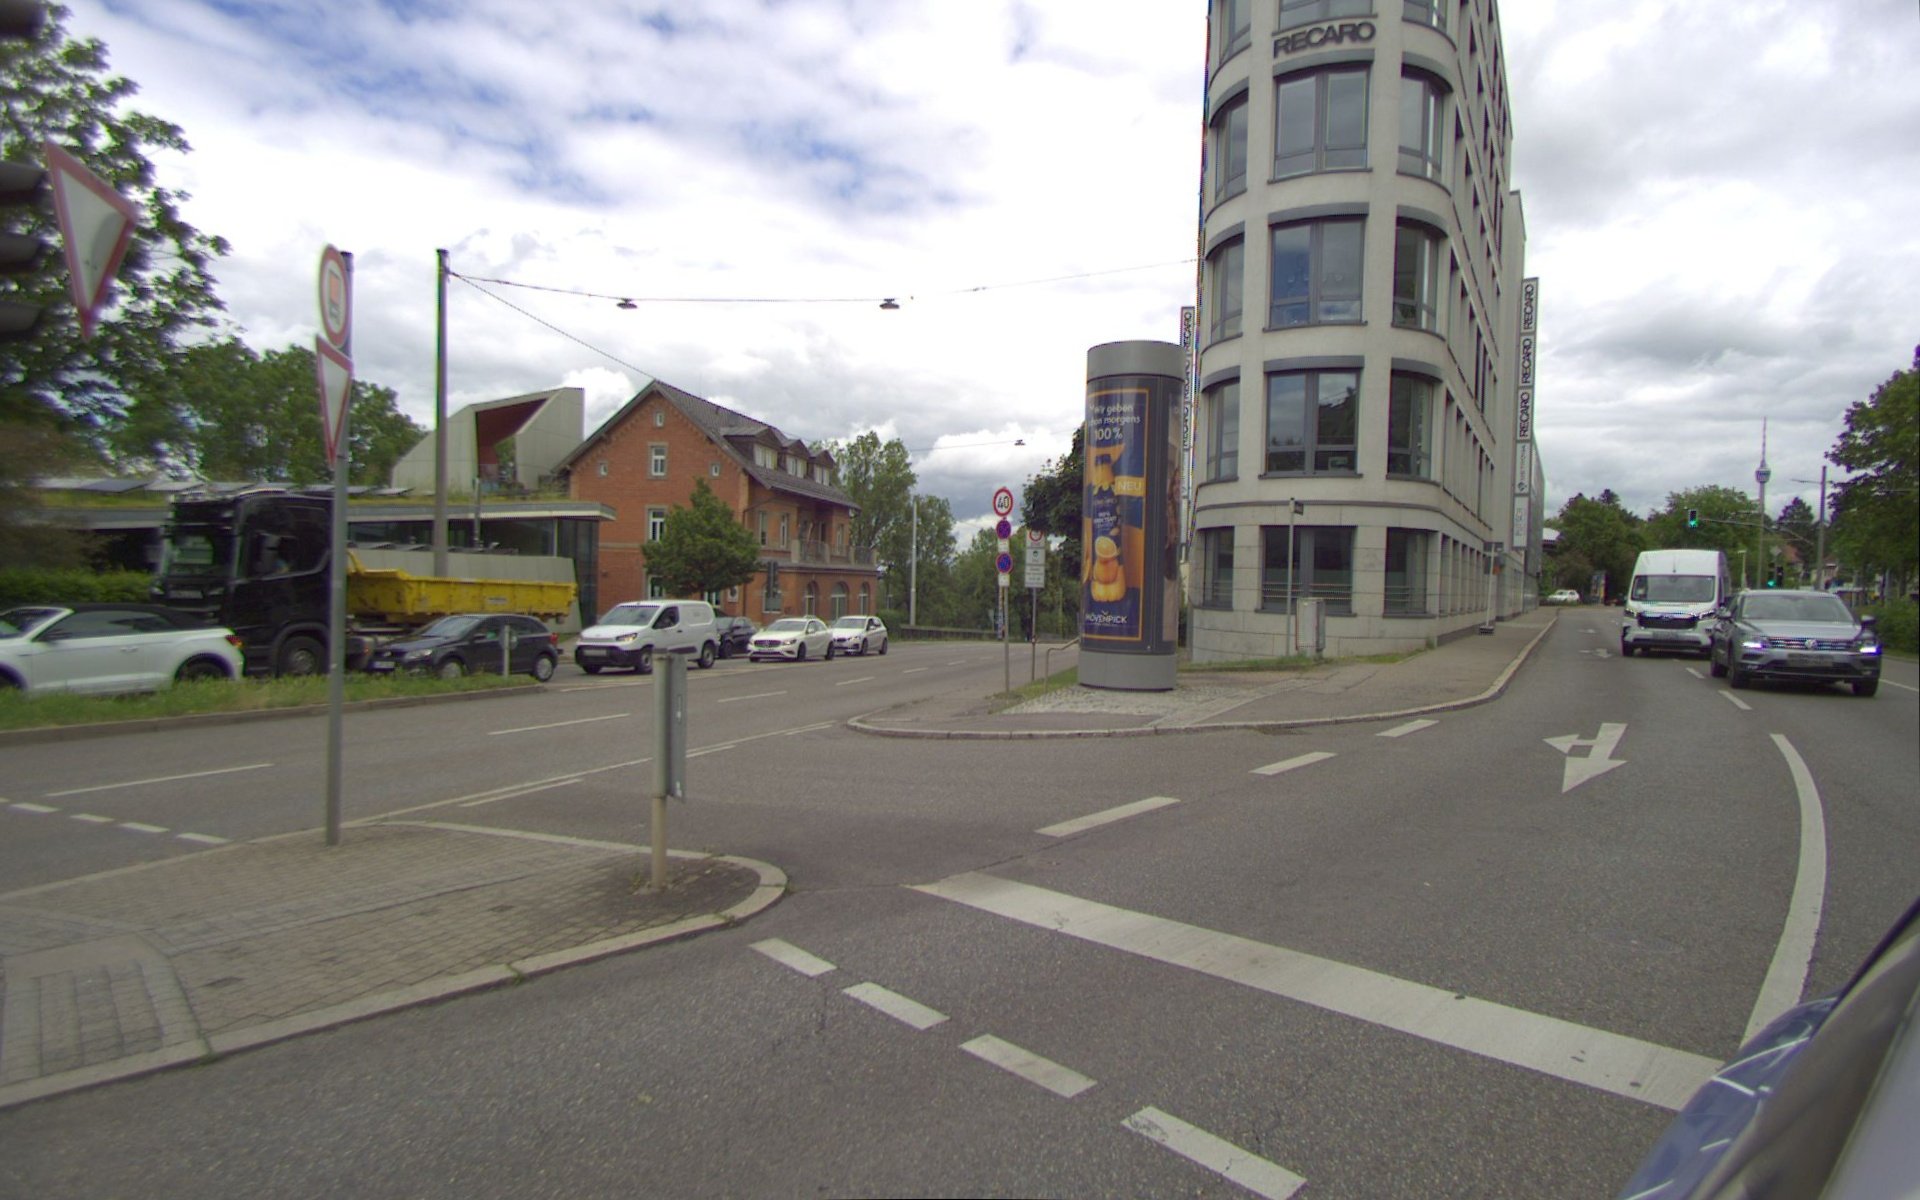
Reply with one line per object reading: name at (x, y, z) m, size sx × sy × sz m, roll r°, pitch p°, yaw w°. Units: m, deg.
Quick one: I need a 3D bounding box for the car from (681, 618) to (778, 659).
car at (-8.188, 1.331, 36.283) m, size 1.663 × 1.350 × 3.962 m, roll 0°, pitch 0°, yaw 17°

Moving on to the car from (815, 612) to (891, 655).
car at (-4.182, 1.294, 40.148) m, size 1.711 × 1.588 × 4.309 m, roll -2°, pitch -1°, yaw 13°

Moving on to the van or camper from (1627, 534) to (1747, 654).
van or camper at (18.582, -0.156, 26.129) m, size 2.096 × 2.724 × 6.227 m, roll 0°, pitch 0°, yaw 32°

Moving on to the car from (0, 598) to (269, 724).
car at (-12.329, 0.767, 13.911) m, size 1.833 × 1.549 × 4.458 m, roll 0°, pitch -1°, yaw 20°

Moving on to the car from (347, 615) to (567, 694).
car at (-9.926, 1.011, 20.330) m, size 1.633 × 1.391 × 3.952 m, roll 0°, pitch 0°, yaw 19°

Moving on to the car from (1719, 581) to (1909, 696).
car at (14.073, 0.538, 16.934) m, size 1.821 × 1.666 × 4.277 m, roll 0°, pitch 0°, yaw 32°

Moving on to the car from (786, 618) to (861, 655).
car at (-5.790, 1.539, 43.345) m, size 1.663 × 1.459 × 3.962 m, roll -1°, pitch -1°, yaw 17°

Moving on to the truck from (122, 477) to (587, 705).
truck at (-12.611, -0.191, 22.611) m, size 2.792 × 3.975 × 9.400 m, roll 0°, pitch 0°, yaw 19°

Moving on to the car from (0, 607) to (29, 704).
car at (-16.049, 0.849, 14.093) m, size 1.964 × 1.461 × 4.131 m, roll 0°, pitch 0°, yaw 20°

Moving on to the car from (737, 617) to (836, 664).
car at (-5.627, 1.285, 33.403) m, size 1.729 × 1.394 × 4.270 m, roll 0°, pitch 0°, yaw 13°

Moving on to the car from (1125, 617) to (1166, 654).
car at (11.531, 2.149, 62.662) m, size 2.147 × 2.039 × 3.982 m, roll 1°, pitch 1°, yaw 15°

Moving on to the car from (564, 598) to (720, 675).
car at (-8.021, 0.868, 25.983) m, size 1.732 × 1.820 × 4.263 m, roll 0°, pitch 0°, yaw 17°
